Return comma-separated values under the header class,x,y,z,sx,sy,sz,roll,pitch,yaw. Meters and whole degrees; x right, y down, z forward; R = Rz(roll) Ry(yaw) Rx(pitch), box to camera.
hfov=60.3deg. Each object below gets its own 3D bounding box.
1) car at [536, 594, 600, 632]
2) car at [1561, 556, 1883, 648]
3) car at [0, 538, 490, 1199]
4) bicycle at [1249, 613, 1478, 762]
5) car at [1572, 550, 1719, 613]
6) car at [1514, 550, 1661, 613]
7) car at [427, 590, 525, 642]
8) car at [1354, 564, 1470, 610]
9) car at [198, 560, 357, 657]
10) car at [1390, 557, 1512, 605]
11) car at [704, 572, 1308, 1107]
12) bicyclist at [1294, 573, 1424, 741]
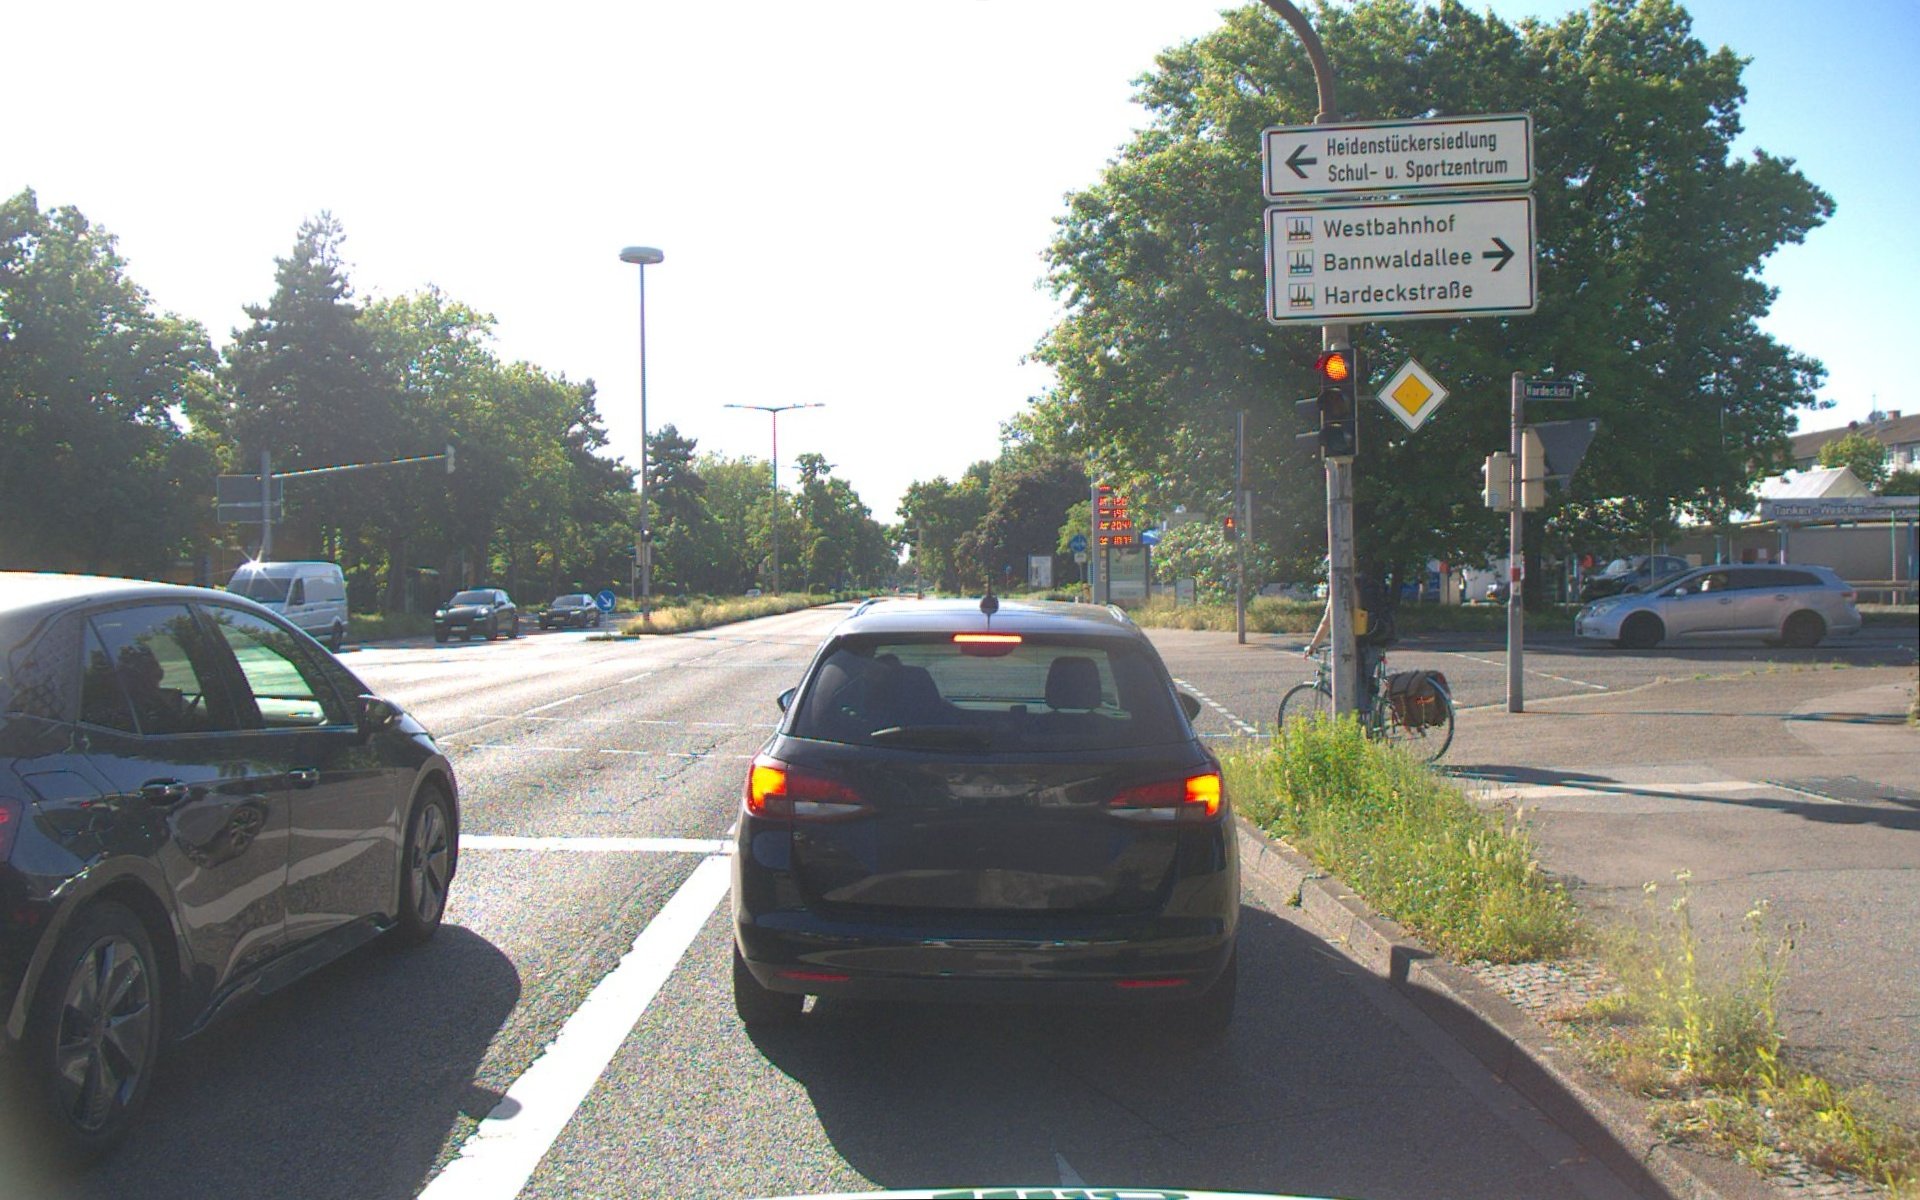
class,x,y,z,sx,sy,sz,roll,pitch,yaw
car,-16.621,0.529,70.332,1.740,1.488,4.164,-1,0,-1
car,13.539,0.029,29.704,4.897,1.512,2.002,-1,0,11
car,-2.996,0.666,5.604,1.650,1.608,4.206,0,0,-1
bicycle,3.228,0.704,13.370,0.533,1.117,1.748,-2,-2,-44
car,19.987,-0.541,48.197,3.934,1.709,1.732,-2,0,-24
car,18.969,-0.570,50.017,3.935,1.780,1.985,-2,1,-24
car,-16.220,0.493,55.679,1.953,1.629,4.615,-1,0,-1
car,16.430,-0.472,60.061,3.837,1.544,1.732,-2,0,-24
car,-19.319,0.207,47.145,2.057,2.536,6.003,-1,0,-1
car,16.907,-0.659,56.985,3.837,1.544,1.732,-2,0,-24
car,0.105,0.691,6.836,1.721,1.521,4.206,0,0,-1
bicyclist,3.221,0.458,13.372,0.534,1.299,0.816,-2,-2,-44
